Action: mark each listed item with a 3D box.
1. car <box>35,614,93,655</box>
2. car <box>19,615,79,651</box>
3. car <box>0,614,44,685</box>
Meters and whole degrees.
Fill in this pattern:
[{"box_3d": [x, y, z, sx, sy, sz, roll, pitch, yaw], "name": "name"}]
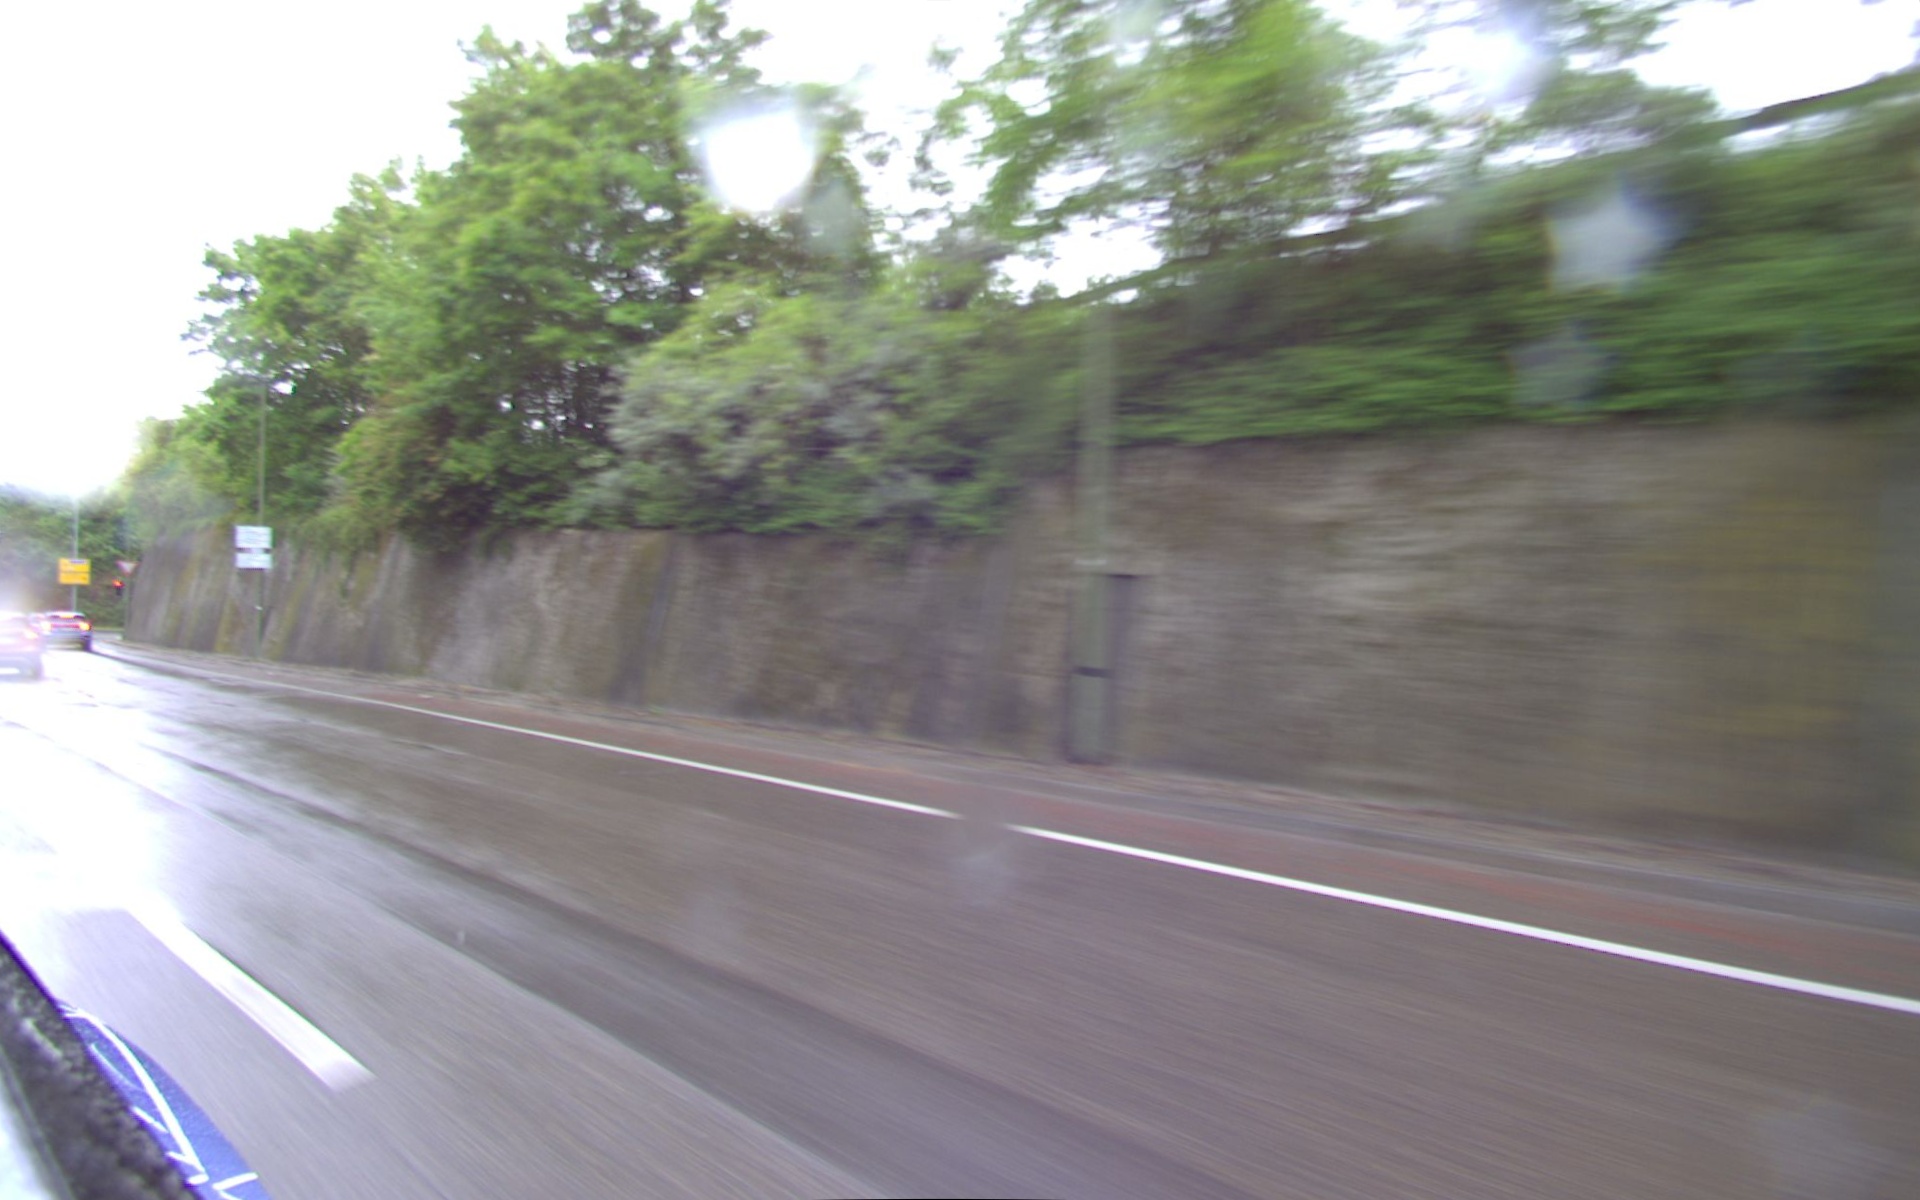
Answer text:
[{"box_3d": [-39.204, 1.497, 44.268, 1.793, 1.670, 4.055, 3, -2, -42], "name": "car"}, {"box_3d": [-44.460, 1.582, 49.354, 1.970, 1.514, 4.733, 6, -4, -43], "name": "car"}, {"box_3d": [-24.193, 1.189, 25.095, 3.998, 1.630, 1.714, 0, -1, 41], "name": "car"}]
